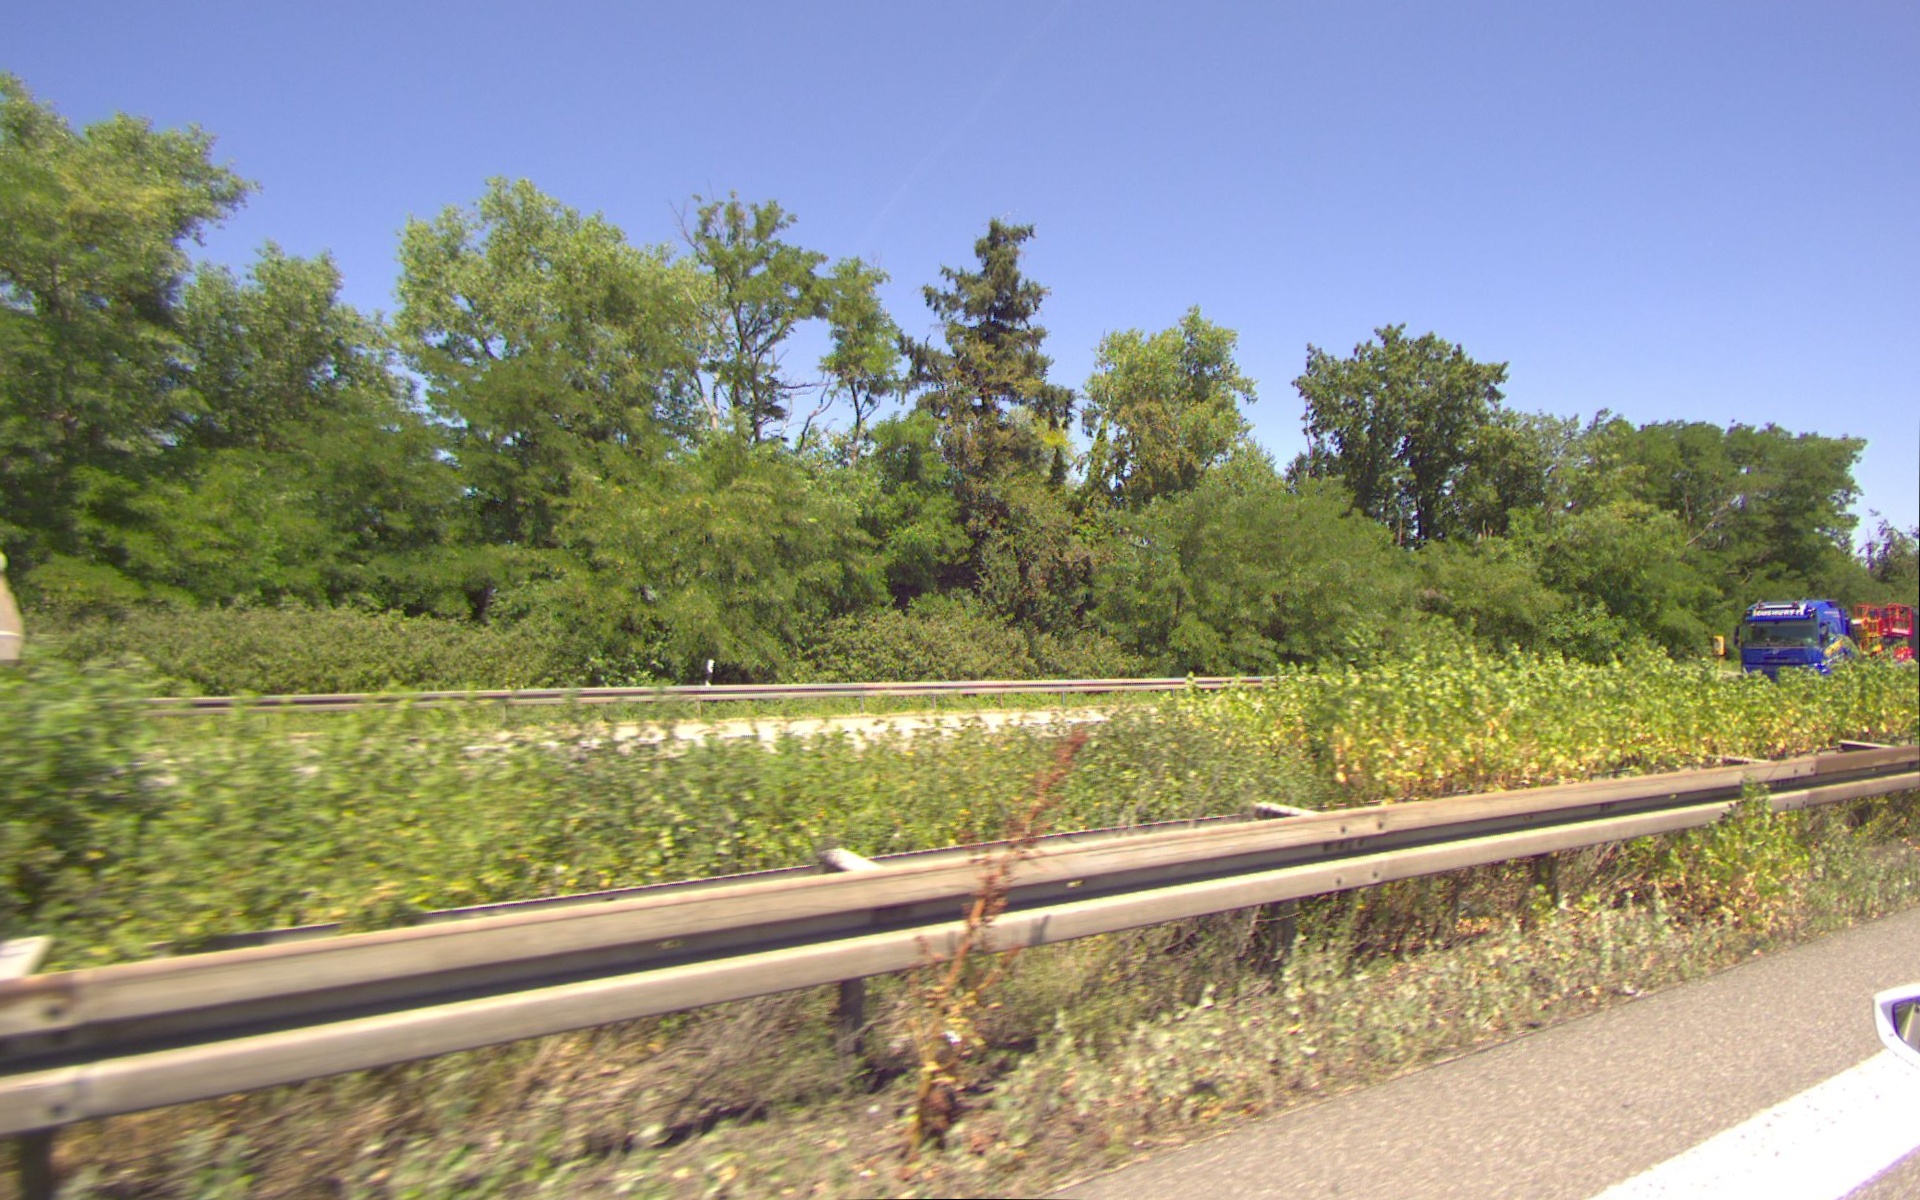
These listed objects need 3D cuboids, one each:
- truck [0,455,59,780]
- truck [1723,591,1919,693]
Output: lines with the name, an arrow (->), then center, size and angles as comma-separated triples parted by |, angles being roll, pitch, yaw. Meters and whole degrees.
truck -> -16.551, 0.127, 9.272 | 11.759, 3.754, 2.887 | 1, -3, -30
truck -> 33.938, 1.669, 38.762 | 11.840, 3.477, 2.775 | 2, -3, -30
